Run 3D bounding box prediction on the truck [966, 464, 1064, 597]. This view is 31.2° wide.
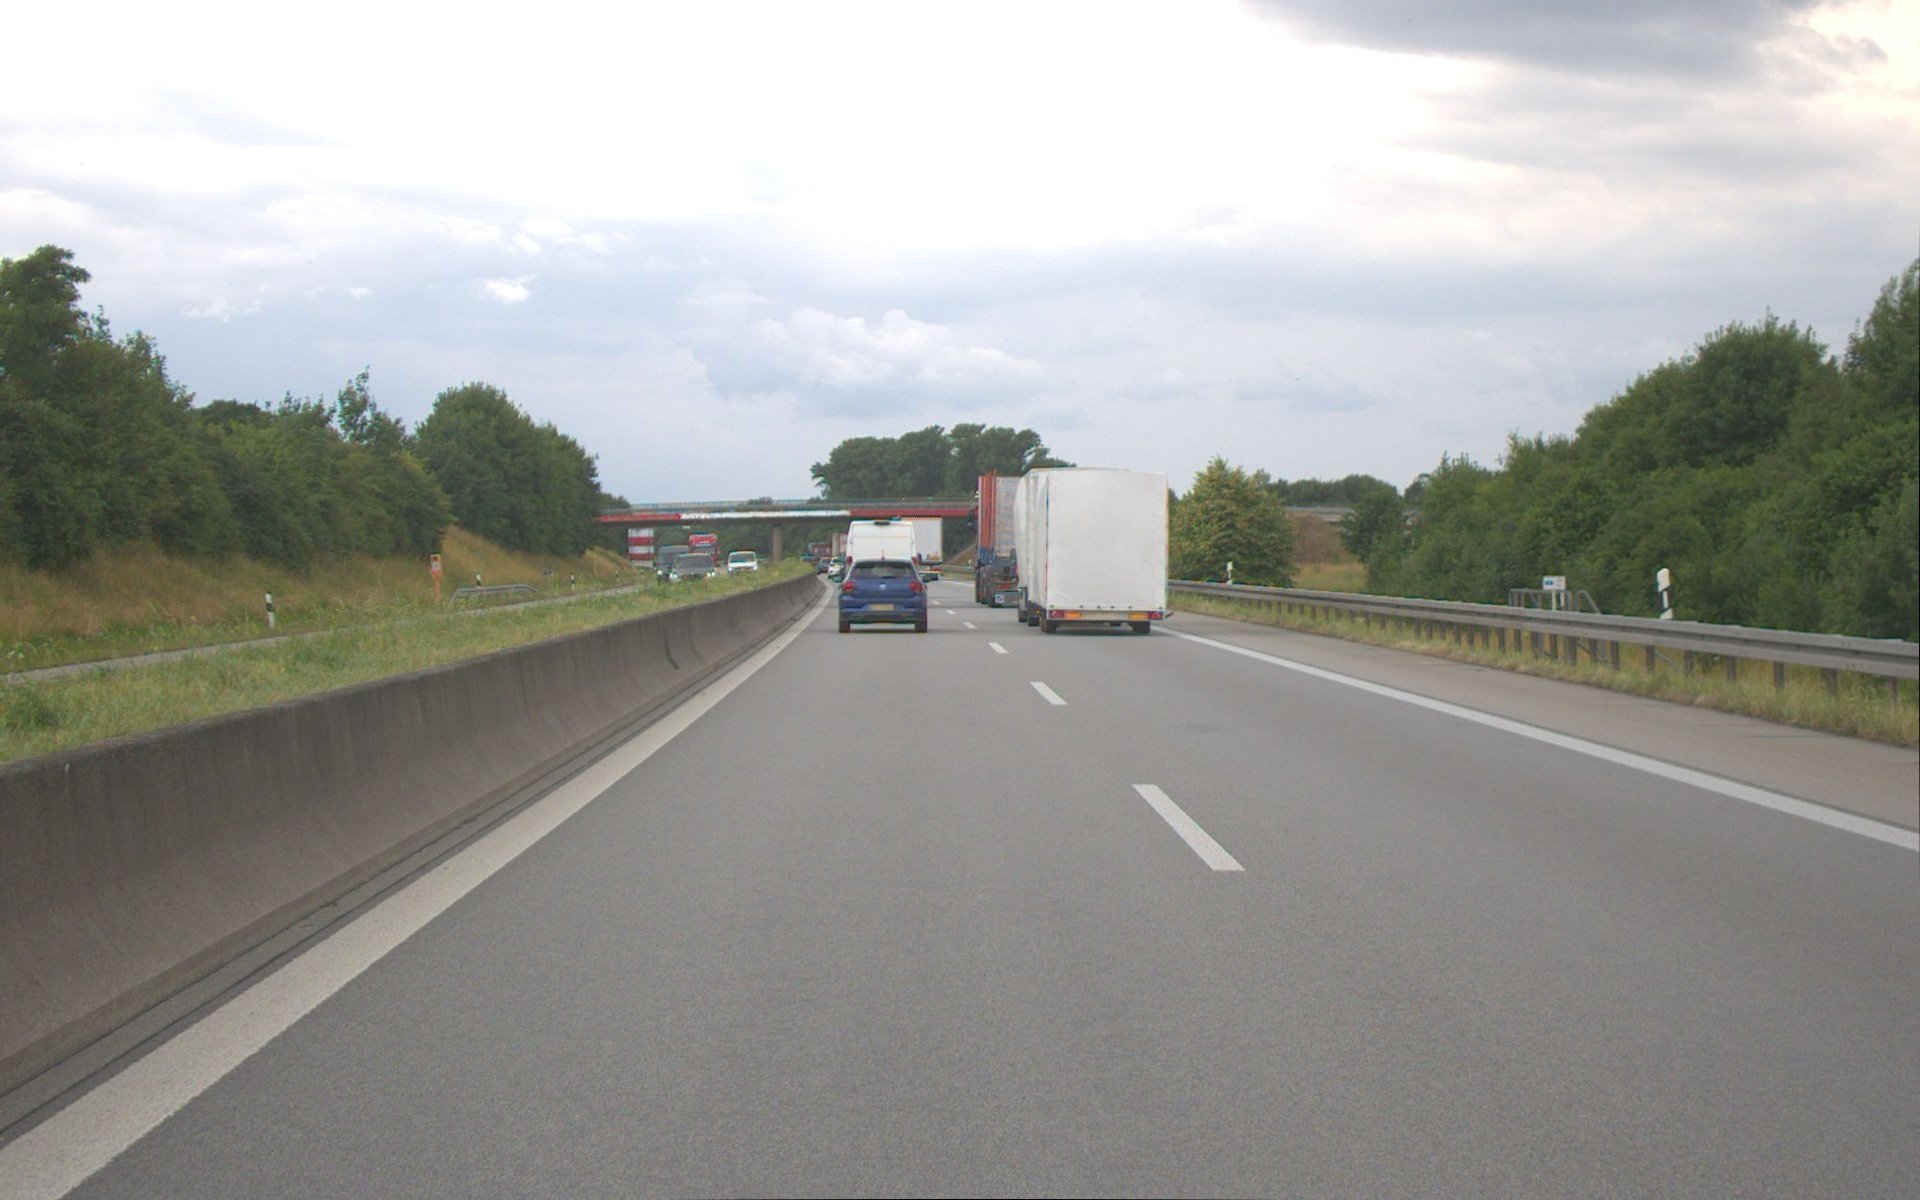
[{"bbox_3d":[1.684,-2.181,107.742,2.673,4.032,5.513,-1,1,-3],"label":"truck"}]

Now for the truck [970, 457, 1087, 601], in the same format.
[{"bbox_3d":[1.940,-2.118,102.382,2.673,4.032,11.109,-1,1,-3],"label":"truck"}]

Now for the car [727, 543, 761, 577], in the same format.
[{"bbox_3d":[-13.266,-2.480,211.347,1.979,2.007,5.131,0,1,-2],"label":"car"}]

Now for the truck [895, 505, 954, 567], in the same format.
[{"bbox_3d":[-2.252,-3.938,214.849,3.110,3.677,9.324,-2,1,-3],"label":"truck"}]

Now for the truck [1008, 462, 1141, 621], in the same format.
[{"bbox_3d":[2.382,-1.232,73.555,2.429,3.232,7.248,0,1,-2],"label":"truck"}]

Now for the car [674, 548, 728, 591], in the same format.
[{"bbox_3d":[-10.642,-1.281,141.595,1.919,1.688,4.597,-2,1,-1],"label":"car"}]

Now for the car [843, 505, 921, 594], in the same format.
[{"bbox_3d":[-2.297,-1.443,99.521,2.130,2.474,5.840,-1,1,-2],"label":"car"}]

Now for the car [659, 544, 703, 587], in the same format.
[{"bbox_3d":[-16.680,-2.049,205.833,2.169,2.456,6.724,-3,1,-2],"label":"car"}]

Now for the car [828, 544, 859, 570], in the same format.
[{"bbox_3d":[-7.773,-2.866,229.579,1.993,1.678,4.001,0,1,-3],"label":"car"}]

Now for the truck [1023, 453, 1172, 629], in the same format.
[{"bbox_3d":[2.577,-1.120,66.366,2.415,3.211,7.144,0,1,-1],"label":"truck"}]

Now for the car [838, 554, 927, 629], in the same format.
[{"bbox_3d":[-1.482,-0.181,66.639,1.663,1.402,3.648,0,1,0],"label":"car"}]

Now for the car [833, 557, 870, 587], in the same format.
[{"bbox_3d":[-6.168,-1.613,196.324,1.935,1.638,4.903,-1,1,0],"label":"car"}]
